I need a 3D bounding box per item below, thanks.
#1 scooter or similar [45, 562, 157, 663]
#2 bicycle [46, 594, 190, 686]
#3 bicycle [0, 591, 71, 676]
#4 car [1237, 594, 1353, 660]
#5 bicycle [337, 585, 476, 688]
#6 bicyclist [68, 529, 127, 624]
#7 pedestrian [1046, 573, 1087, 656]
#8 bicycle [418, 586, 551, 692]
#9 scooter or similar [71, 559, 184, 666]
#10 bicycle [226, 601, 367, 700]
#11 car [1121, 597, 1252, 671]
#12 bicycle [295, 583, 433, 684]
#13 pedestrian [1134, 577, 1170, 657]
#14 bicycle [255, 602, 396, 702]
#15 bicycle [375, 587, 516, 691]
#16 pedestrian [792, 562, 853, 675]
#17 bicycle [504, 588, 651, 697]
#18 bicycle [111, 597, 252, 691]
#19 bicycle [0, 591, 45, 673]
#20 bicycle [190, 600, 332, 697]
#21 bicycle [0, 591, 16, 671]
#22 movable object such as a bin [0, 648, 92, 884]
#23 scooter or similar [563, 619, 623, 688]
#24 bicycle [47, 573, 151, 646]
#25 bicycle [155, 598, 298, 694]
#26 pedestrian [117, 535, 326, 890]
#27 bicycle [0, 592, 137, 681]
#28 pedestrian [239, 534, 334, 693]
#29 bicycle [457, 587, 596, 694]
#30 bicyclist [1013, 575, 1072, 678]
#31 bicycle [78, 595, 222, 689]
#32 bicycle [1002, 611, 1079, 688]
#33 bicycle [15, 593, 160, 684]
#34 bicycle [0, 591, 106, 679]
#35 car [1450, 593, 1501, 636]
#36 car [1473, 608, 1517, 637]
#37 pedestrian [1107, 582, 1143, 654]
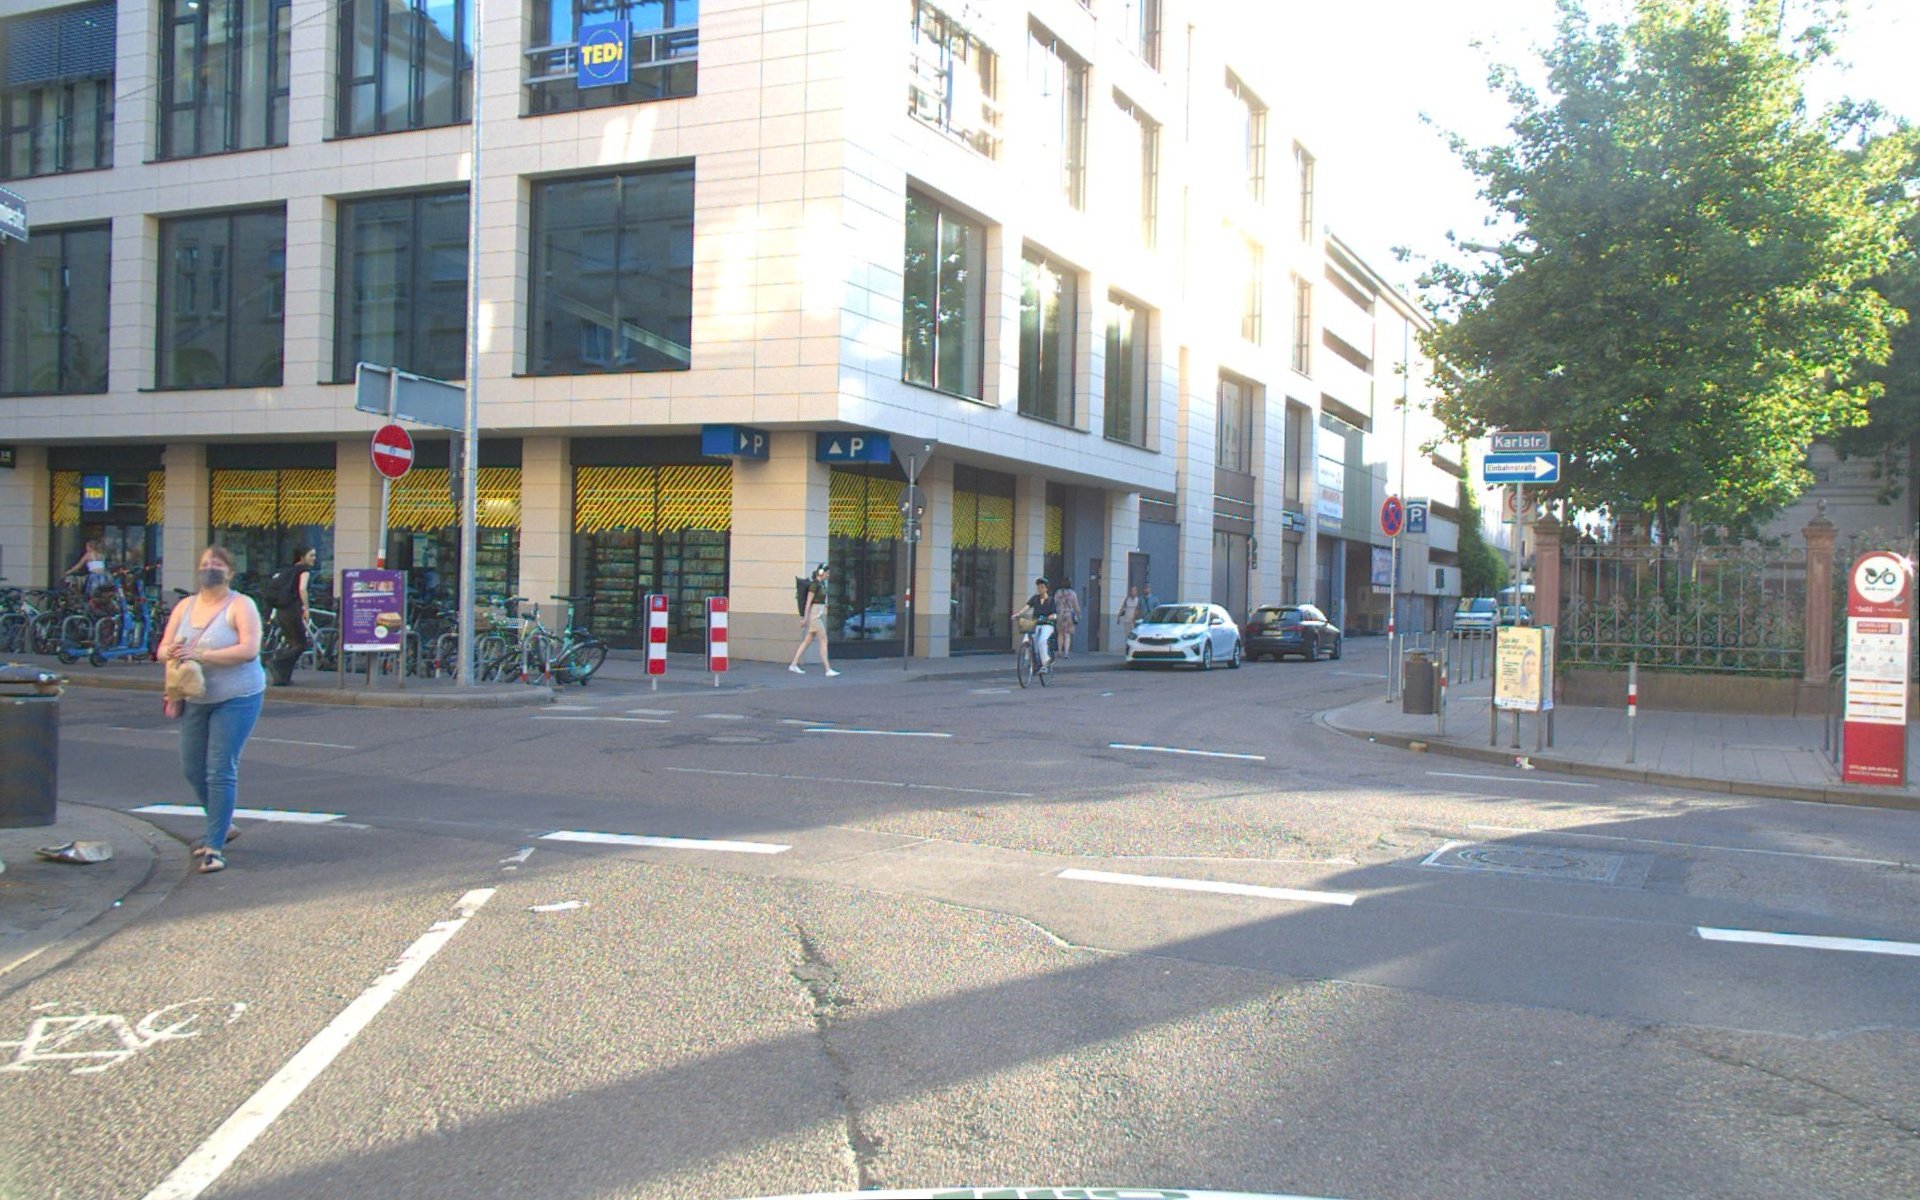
[{"bbox_3d":[-10.848,0.160,20.915,0.379,1.233,1.270,2,-1,23],"label":"scooter or similar"},{"bbox_3d":[-12.296,0.579,24.218,0.501,1.277,1.978,2,-1,23],"label":"bicycle"},{"bbox_3d":[-14.689,0.504,25.325,0.501,1.277,1.978,2,-1,23],"label":"bicycle"},{"bbox_3d":[9.053,0.712,44.377,1.847,1.626,4.683,1,0,27],"label":"car"},{"bbox_3d":[-7.245,0.473,21.758,0.501,1.277,1.978,2,-1,23],"label":"bicycle"},{"bbox_3d":[-15.947,-0.423,30.583,0.629,1.725,0.684,1,0,25],"label":"bicyclist"},{"bbox_3d":[2.326,0.318,36.148,0.658,1.775,0.647,1,0,25],"label":"pedestrian"},{"bbox_3d":[-6.046,0.495,21.134,0.501,1.277,1.979,2,-1,21],"label":"bicycle"},{"bbox_3d":[-10.355,0.164,20.616,0.379,1.282,1.270,2,-1,23],"label":"scooter or similar"},{"bbox_3d":[-9.028,0.680,22.591,0.501,1.277,1.978,2,-1,23],"label":"bicycle"},{"bbox_3d":[5.029,0.713,36.251,1.742,1.478,4.229,1,0,24],"label":"car"},{"bbox_3d":[-7.932,0.448,22.107,0.501,1.277,1.978,2,-1,22],"label":"bicycle"},{"bbox_3d":[4.571,0.400,39.396,0.658,1.868,0.647,1,0,23],"label":"pedestrian"},{"bbox_3d":[-8.534,0.695,22.329,0.501,1.277,1.978,2,-1,23],"label":"bicycle"},{"bbox_3d":[-6.610,0.501,21.368,0.501,1.277,1.977,1,-1,25],"label":"bicycle"},{"bbox_3d":[-2.156,0.285,25.967,0.629,1.753,0.837,2,0,-30],"label":"pedestrian"},{"bbox_3d":[-4.744,0.522,20.683,0.650,1.277,2.140,2,-1,21],"label":"bicycle"},{"bbox_3d":[-11.066,0.617,23.581,0.501,1.277,1.978,2,-1,22],"label":"bicycle"},{"bbox_3d":[-15.231,0.487,25.552,0.501,1.277,1.978,2,-1,23],"label":"bicycle"},{"bbox_3d":[-9.653,0.661,22.910,0.501,1.277,1.978,2,-1,23],"label":"bicycle"},{"bbox_3d":[-15.808,0.469,25.771,0.501,1.277,1.978,2,-1,23],"label":"bicycle"},{"bbox_3d":[-4.380,0.777,7.862,0.353,1.082,0.354,1,0,-16],"label":"movable object such as a bin"},{"bbox_3d":[-4.935,0.719,22.276,0.379,0.899,0.769,2,-1,23],"label":"scooter or similar"},{"bbox_3d":[-15.910,0.165,30.551,1.933,1.277,0.612,2,-1,25],"label":"bicycle"},{"bbox_3d":[-10.298,0.641,23.297,0.501,1.277,1.978,2,-1,23],"label":"bicycle"},{"bbox_3d":[-3.655,0.524,8.179,0.795,1.641,0.726,2,-1,-35],"label":"pedestrian"},{"bbox_3d":[-13.391,0.546,24.815,0.501,1.277,1.978,2,-1,23],"label":"bicycle"},{"bbox_3d":[-7.329,0.146,18.029,0.855,1.687,0.616,2,0,-17],"label":"pedestrian"},{"bbox_3d":[-5.453,0.507,20.933,0.569,1.277,2.044,2,-1,21],"label":"bicycle"},{"bbox_3d":[1.321,0.418,26.372,0.645,1.598,0.863,2,-1,21],"label":"bicyclist"},{"bbox_3d":[-11.631,0.599,23.829,0.501,1.277,1.978,2,-1,23],"label":"bicycle"},{"bbox_3d":[1.293,0.777,26.358,0.650,1.158,1.822,2,-1,21],"label":"bicycle"},{"bbox_3d":[-12.852,0.561,24.427,0.501,1.277,1.978,2,-1,23],"label":"bicycle"},{"bbox_3d":[-14.006,0.526,25.074,0.501,1.277,1.978,2,-1,23],"label":"bicycle"},{"bbox_3d":[24.833,0.700,79.555,1.845,1.945,4.746,1,0,23],"label":"car"},{"bbox_3d":[29.150,1.197,90.013,1.846,1.478,3.998,1,0,24],"label":"car"},{"bbox_3d":[3.957,0.424,39.669,0.658,1.704,0.647,1,0,23],"label":"pedestrian"}]
